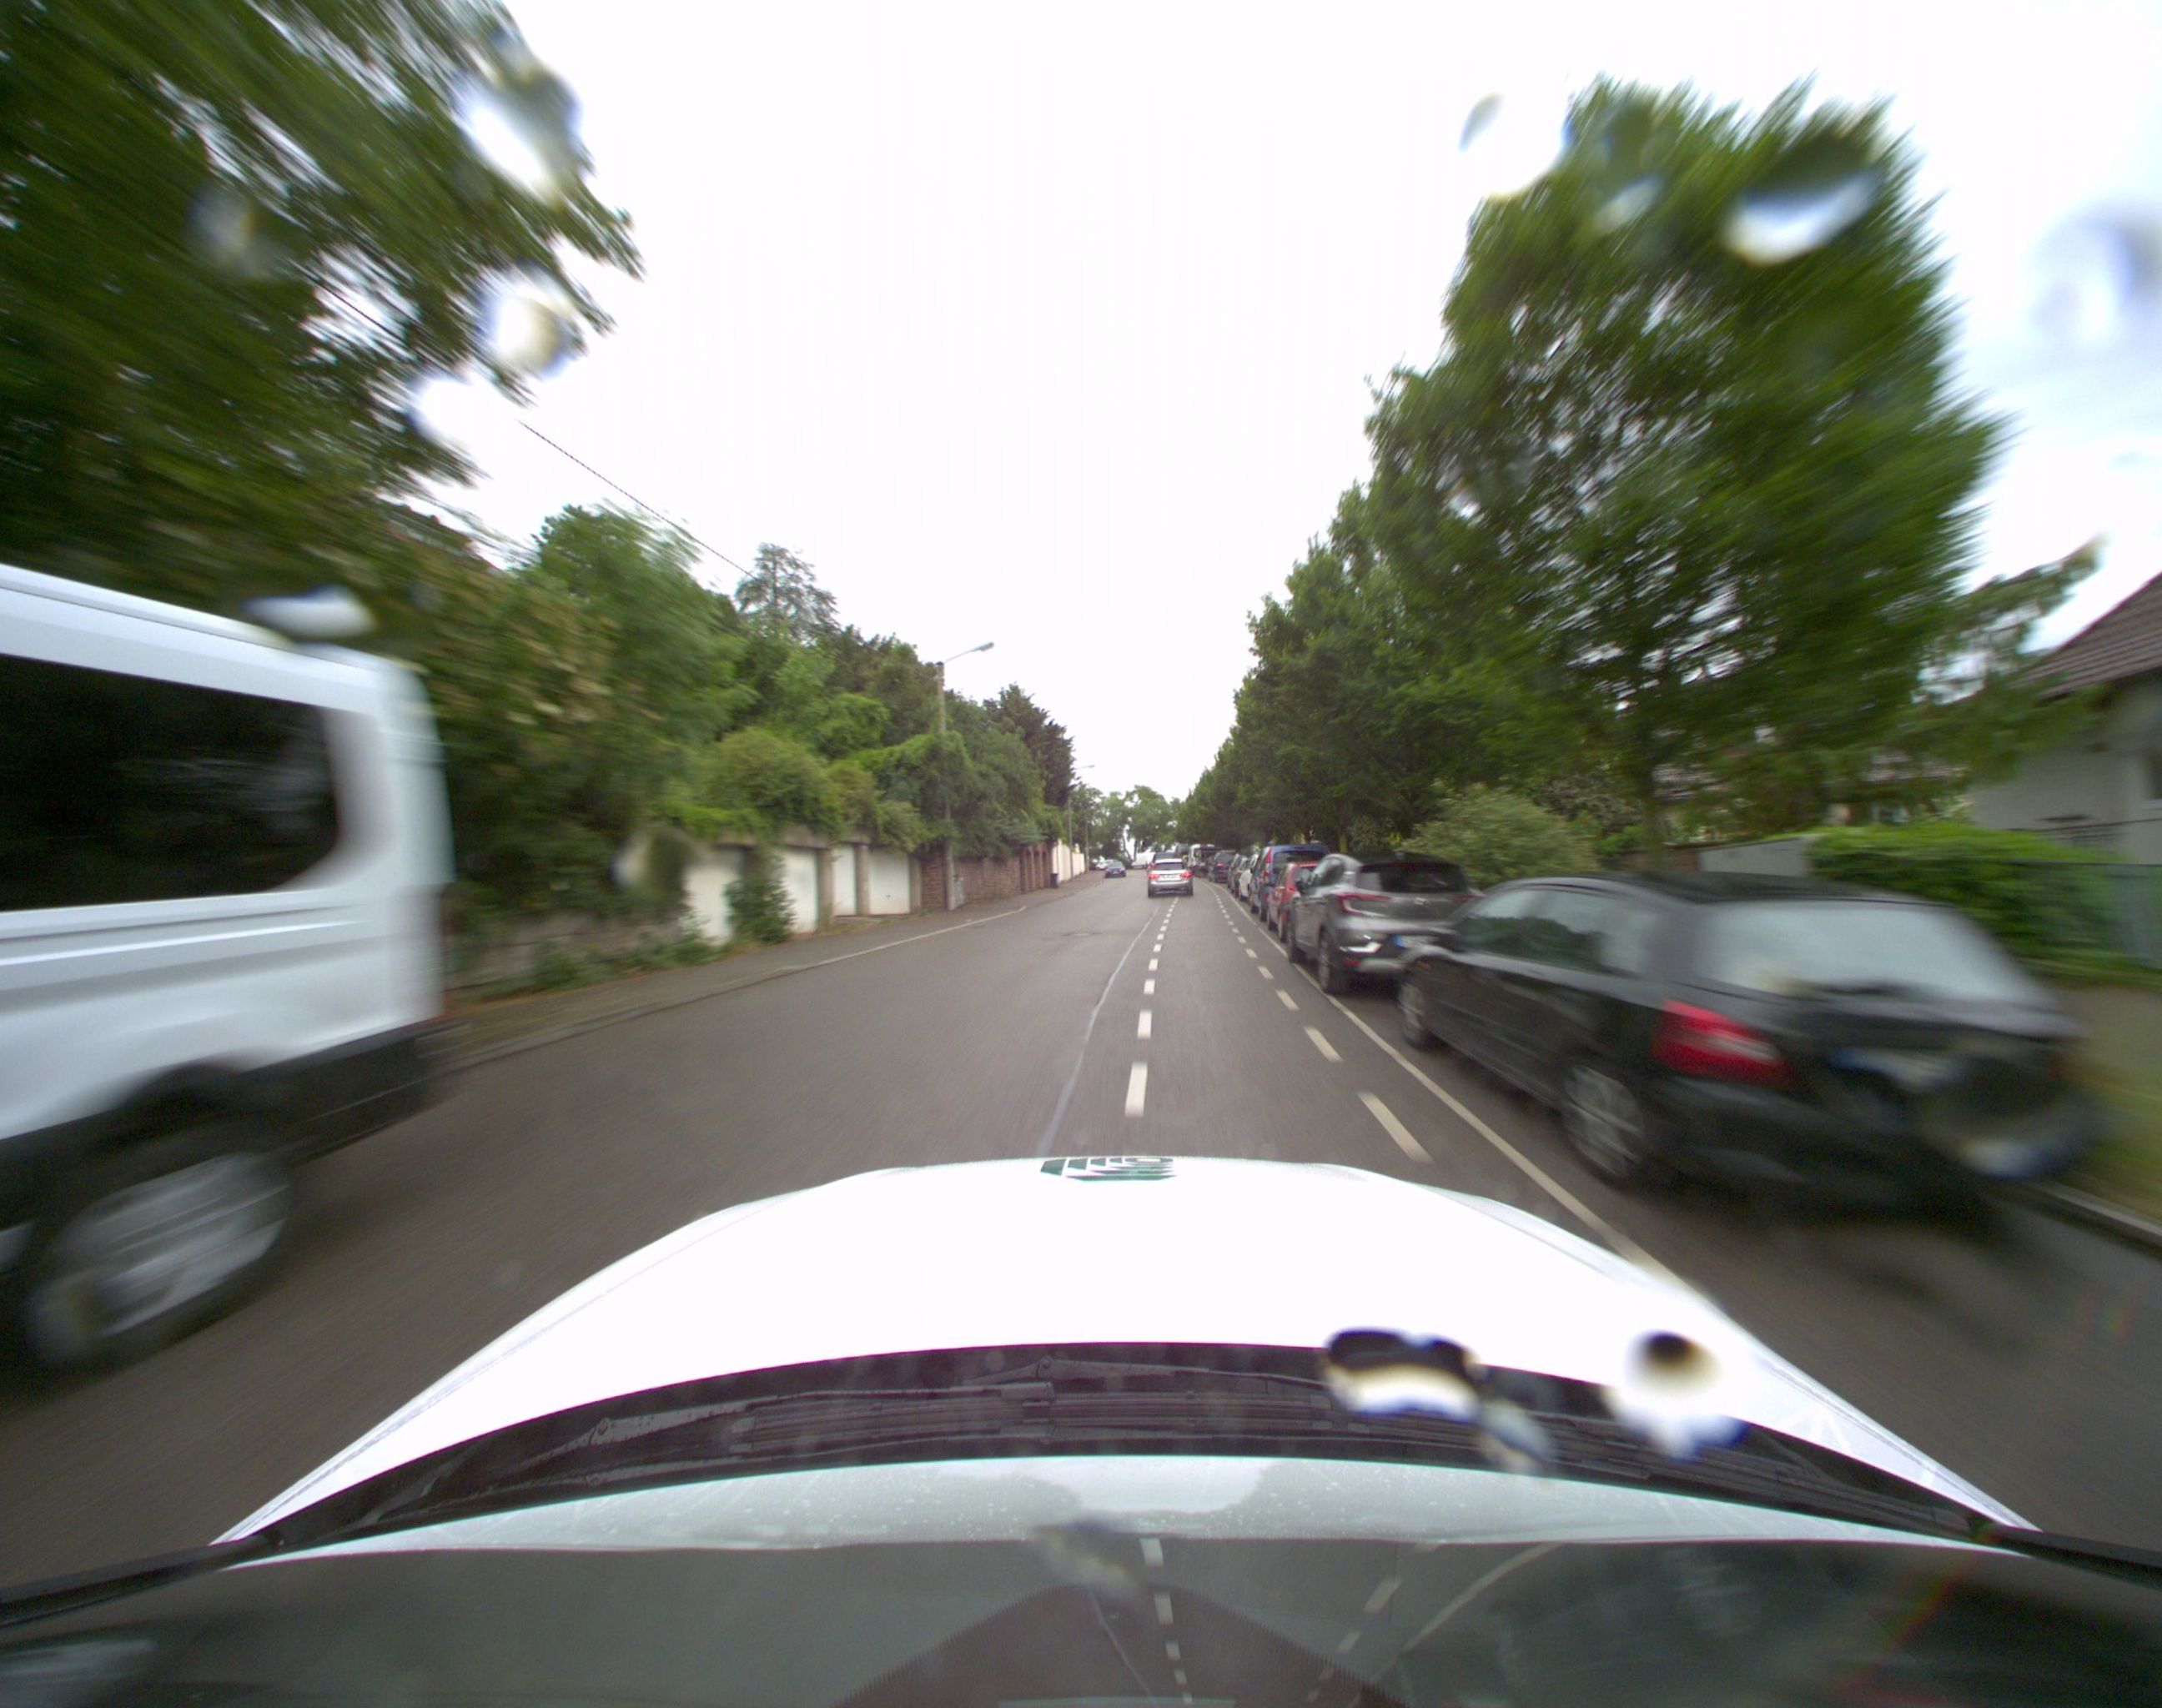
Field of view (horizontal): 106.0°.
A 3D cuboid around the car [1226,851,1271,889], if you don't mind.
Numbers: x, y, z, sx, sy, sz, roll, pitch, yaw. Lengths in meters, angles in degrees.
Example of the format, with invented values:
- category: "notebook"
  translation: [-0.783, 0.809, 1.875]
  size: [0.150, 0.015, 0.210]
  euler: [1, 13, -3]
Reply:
- category: "car"
  translation: [7.379, 0.693, 36.196]
  size: [1.683, 1.570, 3.931]
  euler: [-1, 0, 8]

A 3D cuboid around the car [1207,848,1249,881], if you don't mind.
- category: "car"
  translation: [8.338, 0.578, 46.675]
  size: [1.773, 1.783, 4.683]
  euler: [-2, 0, 3]

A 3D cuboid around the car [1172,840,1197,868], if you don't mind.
- category: "car"
  translation: [10.998, 0.042, 86.705]
  size: [2.116, 2.887, 5.772]
  euler: [0, 0, 2]

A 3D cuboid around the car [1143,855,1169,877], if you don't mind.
- category: "car"
  translation: [6.074, 0.982, 65.827]
  size: [1.984, 1.708, 4.005]
  euler: [-1, -1, 5]

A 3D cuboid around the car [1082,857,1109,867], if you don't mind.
- category: "car"
  translation: [2.380, 1.341, 138.161]
  size: [4.440, 1.698, 1.982]
  euler: [0, 0, 44]

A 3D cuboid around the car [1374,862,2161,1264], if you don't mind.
- category: "car"
  translation: [3.280, 0.771, 5.109]
  size: [1.635, 1.424, 4.292]
  euler: [0, -1, 4]

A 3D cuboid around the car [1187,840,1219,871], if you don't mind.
- category: "car"
  translation: [10.030, 0.119, 67.494]
  size: [2.164, 2.493, 6.040]
  euler: [0, 0, 4]

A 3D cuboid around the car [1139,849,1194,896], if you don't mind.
- category: "car"
  translation: [3.461, 0.715, 33.040]
  size: [2.015, 1.708, 4.222]
  euler: [-2, -1, 6]

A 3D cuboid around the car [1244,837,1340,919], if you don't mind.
- category: "car"
  translation: [5.229, 0.551, 20.667]
  size: [1.769, 1.852, 4.433]
  euler: [-1, 0, 7]

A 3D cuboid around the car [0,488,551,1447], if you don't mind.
- category: "car"
  translation: [-4.002, 0.317, 1.174]
  size: [2.085, 2.550, 6.104]
  euler: [-2, 0, 4]

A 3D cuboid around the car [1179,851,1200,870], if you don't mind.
- category: "car"
  translation: [10.678, 0.669, 80.266]
  size: [1.720, 1.785, 4.280]
  euler: [2, 0, 4]

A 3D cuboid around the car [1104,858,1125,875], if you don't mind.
- category: "car"
  translation: [3.049, 1.141, 73.545]
  size: [1.741, 1.357, 4.428]
  euler: [-4, 0, 2]

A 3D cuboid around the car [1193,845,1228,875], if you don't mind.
- category: "car"
  translation: [9.430, 0.464, 59.637]
  size: [1.985, 2.052, 5.125]
  euler: [-1, -1, 3]

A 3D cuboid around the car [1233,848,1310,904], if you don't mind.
- category: "car"
  translation: [6.084, 0.661, 26.434]
  size: [1.775, 1.609, 4.229]
  euler: [-1, 0, 5]

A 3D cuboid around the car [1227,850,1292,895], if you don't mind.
- category: "car"
  translation: [6.669, 0.645, 30.902]
  size: [1.983, 1.537, 4.860]
  euler: [-1, 0, 7]

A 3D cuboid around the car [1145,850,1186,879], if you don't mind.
- category: "car"
  translation: [5.251, 0.693, 51.231]
  size: [1.988, 1.708, 3.996]
  euler: [-1, -1, -2]

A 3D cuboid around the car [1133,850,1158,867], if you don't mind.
- category: "car"
  translation: [9.936, 0.658, 125.685]
  size: [2.133, 2.527, 4.464]
  euler: [0, 0, -21]

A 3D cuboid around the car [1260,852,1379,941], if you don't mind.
- category: "car"
  translation: [4.411, 0.719, 15.590]
  size: [1.639, 1.482, 4.029]
  euler: [-1, 0, 8]

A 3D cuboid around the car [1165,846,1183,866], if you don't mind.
- category: "car"
  translation: [11.640, 0.291, 102.447]
  size: [2.055, 2.494, 4.764]
  euler: [0, 0, 3]

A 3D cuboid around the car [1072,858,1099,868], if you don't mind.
- category: "car"
  translation: [0.775, 1.591, 139.932]
  size: [1.981, 1.698, 4.614]
  euler: [0, 0, -42]

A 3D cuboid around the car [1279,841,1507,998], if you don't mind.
- category: "car"
  translation: [3.646, 0.662, 10.288]
  size: [1.705, 1.556, 4.171]
  euler: [1, 0, 6]
